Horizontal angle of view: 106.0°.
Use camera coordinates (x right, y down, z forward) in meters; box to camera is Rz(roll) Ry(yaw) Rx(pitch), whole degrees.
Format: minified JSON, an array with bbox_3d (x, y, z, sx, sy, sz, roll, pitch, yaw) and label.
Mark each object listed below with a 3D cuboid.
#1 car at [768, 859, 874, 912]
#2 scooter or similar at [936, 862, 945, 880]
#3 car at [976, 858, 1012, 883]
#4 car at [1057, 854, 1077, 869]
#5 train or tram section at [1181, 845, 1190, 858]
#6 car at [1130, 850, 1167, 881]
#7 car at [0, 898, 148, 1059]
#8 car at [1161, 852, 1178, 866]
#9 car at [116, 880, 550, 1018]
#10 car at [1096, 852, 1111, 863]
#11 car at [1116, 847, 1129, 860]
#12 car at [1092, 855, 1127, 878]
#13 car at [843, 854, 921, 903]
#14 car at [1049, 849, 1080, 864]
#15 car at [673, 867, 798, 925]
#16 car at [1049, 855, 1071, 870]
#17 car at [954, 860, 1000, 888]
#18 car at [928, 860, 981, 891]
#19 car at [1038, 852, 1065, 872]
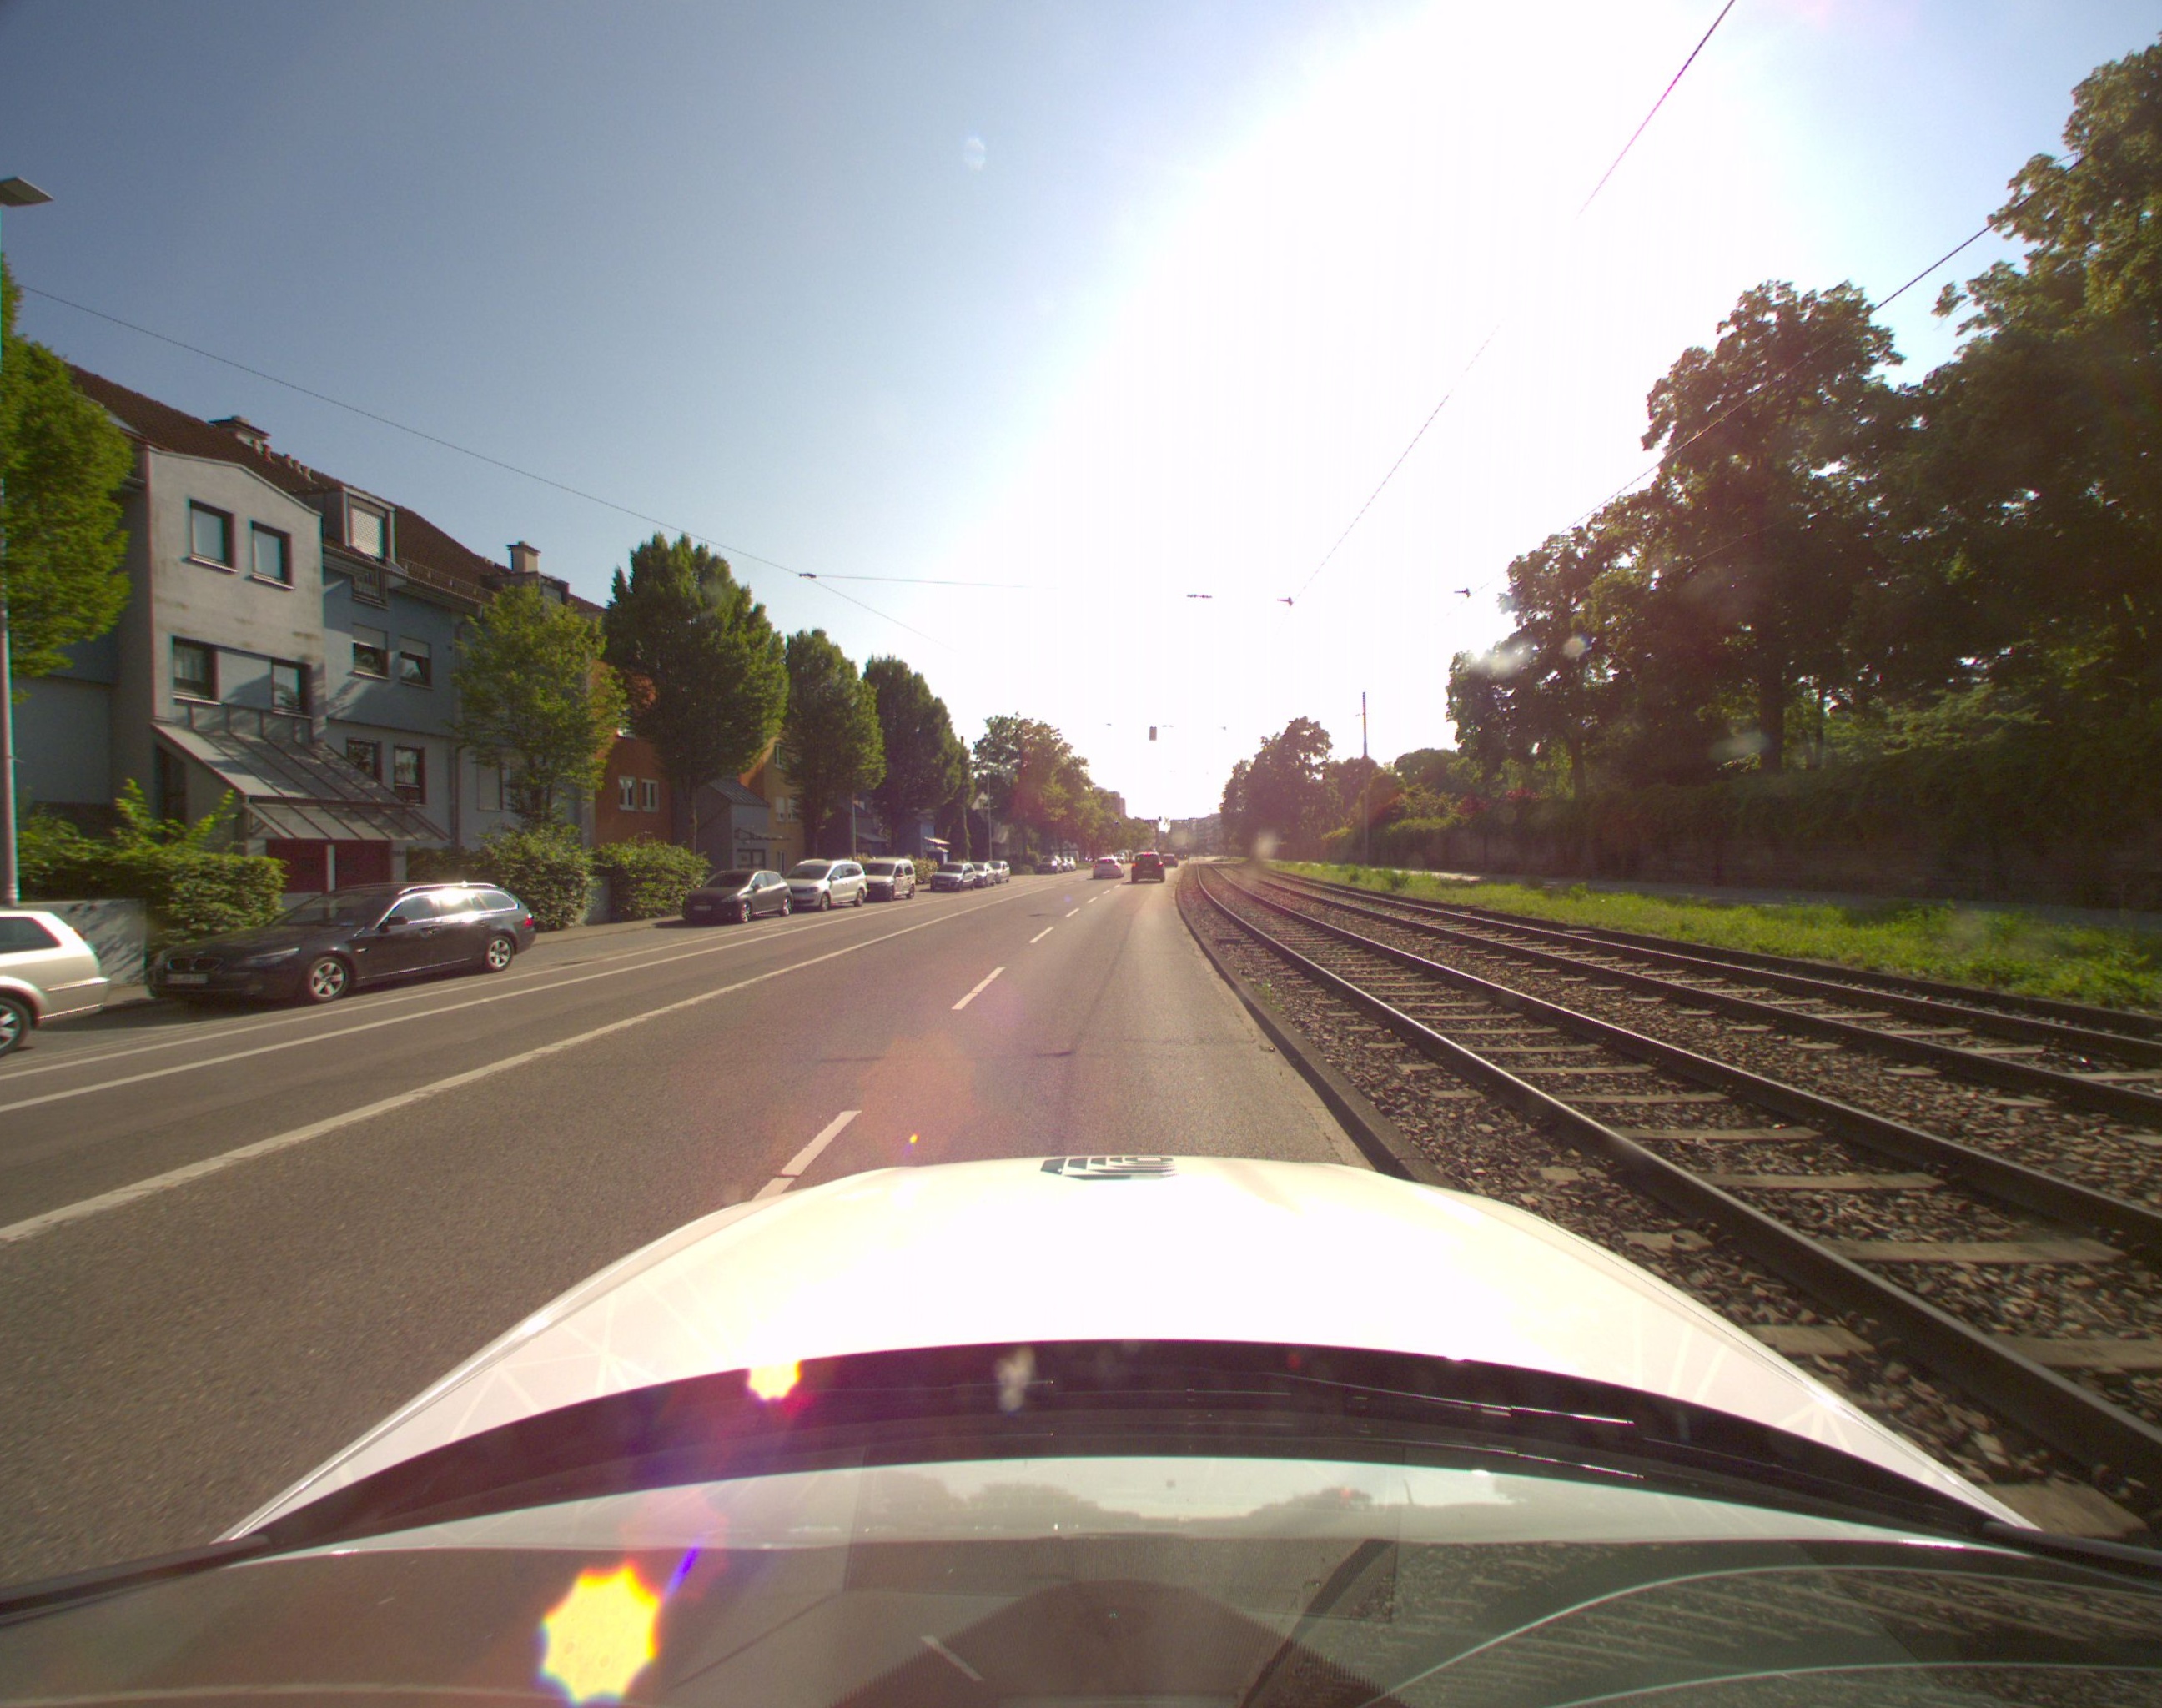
[{"bbox_3d":[-9.126,1.040,29.011,1.659,1.701,4.834,0,0,8],"label":"car"},{"bbox_3d":[-9.024,1.076,52.473,0.292,1.153,1.044,-2,0,3],"label":"scooter or similar"},{"bbox_3d":[-5.870,1.098,55.458,1.593,1.494,3.516,3,0,7],"label":"car"},{"bbox_3d":[-1.458,0.772,87.955,1.592,1.550,3.902,0,0,7],"label":"car"},{"bbox_3d":[30.199,-0.797,234.983,2.313,3.570,8.920,-2,0,8],"label":"train or tram section"},{"bbox_3d":[3.822,0.630,45.581,1.801,1.645,4.009,-1,0,8],"label":"car"},{"bbox_3d":[-11.112,1.184,6.448,1.705,1.471,4.847,0,-1,2],"label":"car"},{"bbox_3d":[9.655,0.565,88.806,1.801,1.449,4.009,0,0,7],"label":"car"},{"bbox_3d":[-10.636,1.218,12.277,1.701,1.472,4.917,0,0,5],"label":"car"},{"bbox_3d":[3.525,0.520,125.122,1.721,1.657,4.011,-2,0,9],"label":"car"},{"bbox_3d":[7.939,-0.094,154.722,1.852,2.347,4.998,-2,0,9],"label":"car"},{"bbox_3d":[1.888,0.791,53.164,1.854,1.348,4.009,-1,0,8],"label":"car"},{"bbox_3d":[-8.502,0.993,35.283,1.754,1.845,4.588,3,0,6],"label":"car"},{"bbox_3d":[-3.065,0.481,149.262,5.345,2.423,2.092,-2,0,7],"label":"car"},{"bbox_3d":[-9.910,1.156,23.731,1.608,1.466,4.064,0,0,5],"label":"car"},{"bbox_3d":[-2.075,0.844,82.458,1.668,1.468,3.975,-2,0,6],"label":"car"},{"bbox_3d":[-6.342,1.164,50.124,1.740,1.510,4.762,3,0,5],"label":"car"},{"bbox_3d":[-6.981,1.161,45.225,1.753,1.539,3.990,3,0,8],"label":"car"},{"bbox_3d":[-2.753,0.727,76.782,1.702,1.694,4.432,-2,0,8],"label":"car"}]
